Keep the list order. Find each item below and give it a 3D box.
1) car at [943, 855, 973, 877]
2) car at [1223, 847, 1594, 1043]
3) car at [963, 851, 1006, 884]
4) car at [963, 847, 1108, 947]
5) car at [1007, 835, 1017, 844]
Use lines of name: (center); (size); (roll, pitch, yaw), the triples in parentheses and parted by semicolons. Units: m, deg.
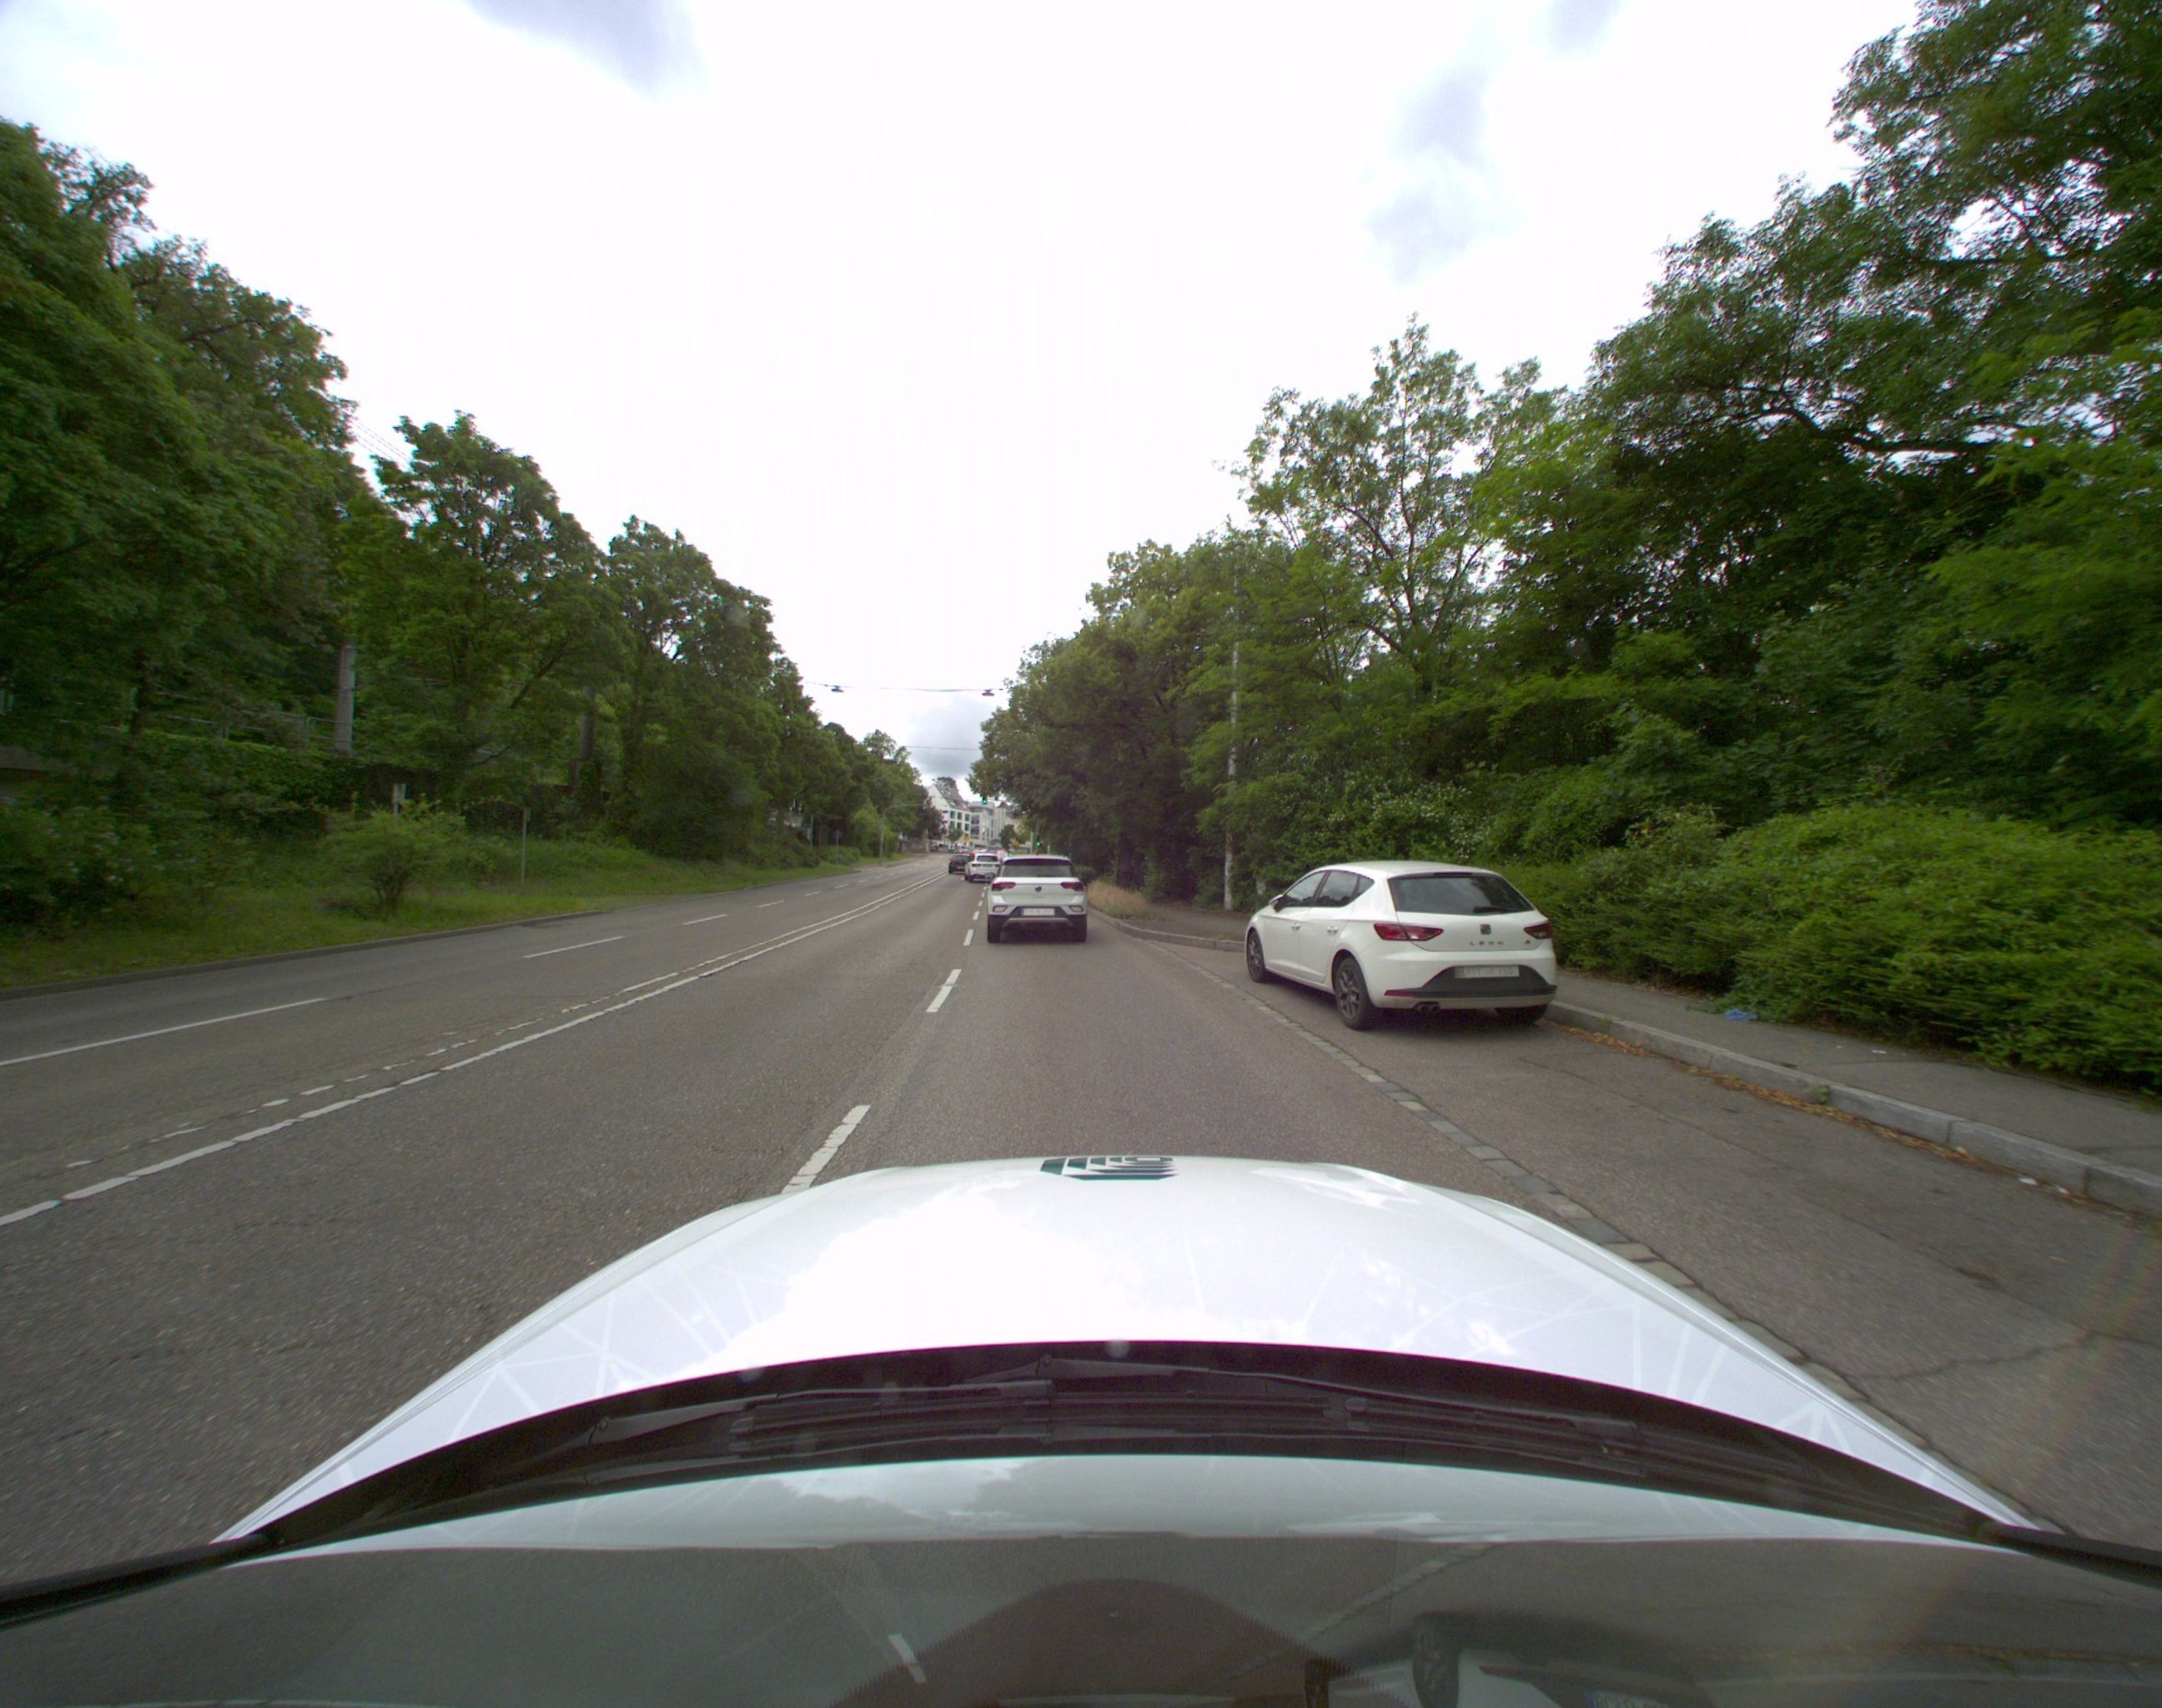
car: (-9.001, 0.866, 59.869); (1.946, 1.466, 3.992); (1, 1, -6)
car: (2.973, 0.694, 8.669); (1.730, 1.482, 4.693); (1, 1, -5)
car: (-5.516, 0.716, 46.063); (1.854, 1.702, 3.980); (0, 1, -15)
car: (-1.017, 0.738, 15.622); (2.004, 1.596, 3.980); (-2, 0, -15)
car: (-13.253, -2.827, 156.441); (1.706, 1.589, 3.997); (1, 1, -2)
